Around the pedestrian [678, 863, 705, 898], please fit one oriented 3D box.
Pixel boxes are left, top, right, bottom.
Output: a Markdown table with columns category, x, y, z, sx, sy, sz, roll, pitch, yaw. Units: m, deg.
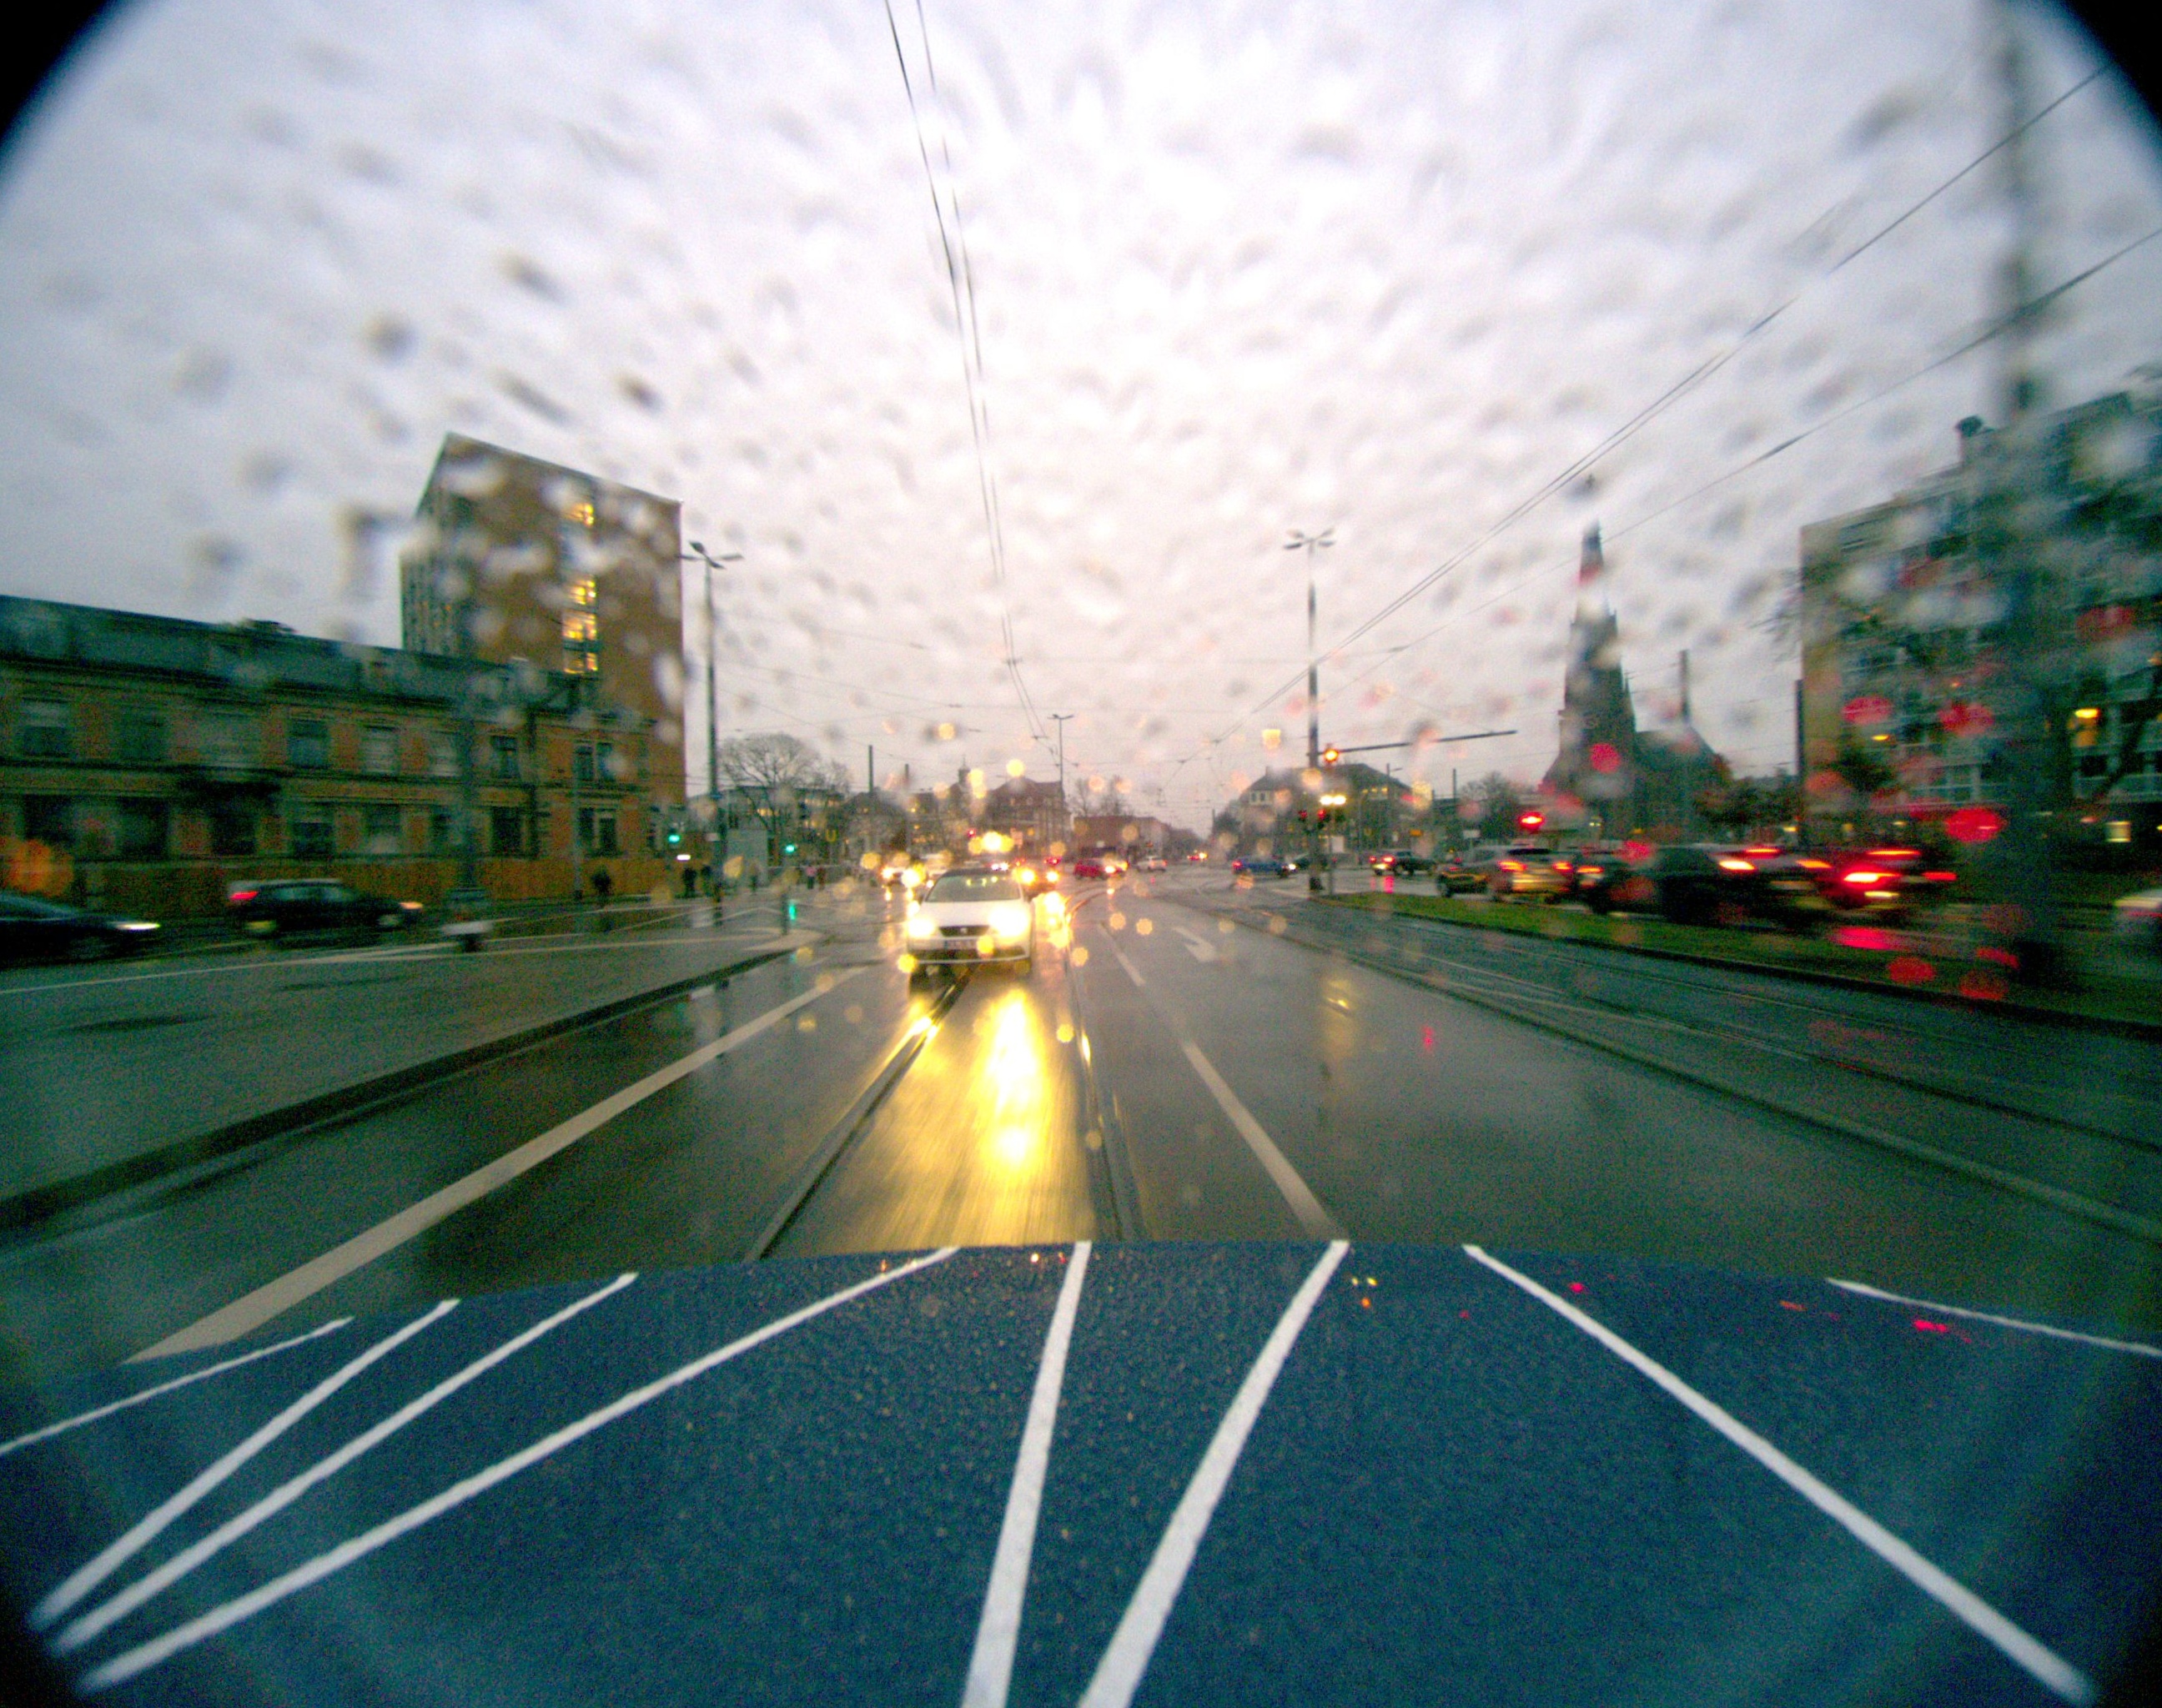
| category | x | y | z | sx | sy | sz | roll | pitch | yaw |
| --- | --- | --- | --- | --- | --- | --- | --- | --- | --- |
| pedestrian | -18.962 | 1.304 | 37.028 | 0.818 | 1.667 | 0.749 | -1 | 1 | 8 |

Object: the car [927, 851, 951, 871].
| category | x | y | z | sx | sy | sz | roll | pitch | yaw |
| --- | --- | --- | --- | --- | --- | --- | --- | --- | --- |
| car | -14.078 | 0.682 | 75.289 | 2.020 | 1.809 | 3.683 | -2 | 1 | -15 |

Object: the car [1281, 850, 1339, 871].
| category | x | y | z | sx | sy | sz | roll | pitch | yaw |
| --- | --- | --- | --- | --- | --- | --- | --- | --- | --- |
| car | 18.485 | 0.520 | 61.472 | 3.997 | 1.543 | 2.000 | -2 | 1 | -1 |

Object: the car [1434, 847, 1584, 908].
| category | x | y | z | sx | sy | sz | roll | pitch | yaw |
| --- | --- | --- | --- | --- | --- | --- | --- | --- | --- |
| car | 11.661 | 0.573 | 21.050 | 1.905 | 1.477 | 4.000 | -2 | 0 | 0 |

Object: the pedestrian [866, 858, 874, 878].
| category | x | y | z | sx | sy | sz | roll | pitch | yaw |
| --- | --- | --- | --- | --- | --- | --- | --- | --- | --- |
| pedestrian | -18.418 | 1.193 | 66.334 | 0.638 | 1.752 | 0.510 | -2 | 1 | -14 |

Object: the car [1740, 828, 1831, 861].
| category | x | y | z | sx | sy | sz | roll | pitch | yaw |
| --- | --- | --- | --- | --- | --- | --- | --- | --- | --- |
| car | 45.237 | -0.584 | 48.848 | 2.004 | 2.002 | 3.989 | -3 | 1 | -38 |

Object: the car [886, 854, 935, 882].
| category | x | y | z | sx | sy | sz | roll | pitch | yaw |
| --- | --- | --- | --- | --- | --- | --- | --- | --- | --- |
| car | -11.925 | 0.945 | 53.470 | 1.998 | 1.827 | 4.872 | -1 | 0 | 4 |

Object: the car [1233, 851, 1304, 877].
| category | x | y | z | sx | sy | sz | roll | pitch | yaw |
| --- | --- | --- | --- | --- | --- | --- | --- | --- | --- |
| car | 11.947 | 0.620 | 48.437 | 4.256 | 1.559 | 1.827 | -1 | 1 | 14 |

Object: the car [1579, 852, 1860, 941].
| category | x | y | z | sx | sy | sz | roll | pitch | yaw |
| --- | --- | --- | --- | --- | --- | --- | --- | --- | --- |
| car | 11.500 | 0.670 | 14.121 | 1.876 | 1.382 | 4.000 | 1 | 0 | 1 |

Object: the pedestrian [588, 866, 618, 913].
| category | x | y | z | sx | sy | sz | roll | pitch | yaw |
| --- | --- | --- | --- | --- | --- | --- | --- | --- | --- |
| pedestrian | -17.034 | 1.244 | 27.071 | 0.821 | 1.610 | 0.747 | -2 | 1 | -34 |

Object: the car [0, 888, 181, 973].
| category | x | y | z | sx | sy | sz | roll | pitch | yaw |
| --- | --- | --- | --- | --- | --- | --- | --- | --- | --- |
| car | -22.757 | 1.650 | 16.193 | 4.396 | 1.579 | 1.885 | -2 | 1 | -44 |

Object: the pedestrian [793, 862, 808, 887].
| category | x | y | z | sx | sy | sz | roll | pitch | yaw |
| --- | --- | --- | --- | --- | --- | --- | --- | --- | --- |
| pedestrian | -18.540 | 1.321 | 50.188 | 0.710 | 1.610 | 0.747 | -2 | 1 | -35 |

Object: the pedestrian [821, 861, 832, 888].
| category | x | y | z | sx | sy | sz | roll | pitch | yaw |
| --- | --- | --- | --- | --- | --- | --- | --- | --- | --- |
| pedestrian | -16.835 | 1.379 | 50.254 | 0.511 | 1.752 | 0.637 | -2 | 1 | -35 |

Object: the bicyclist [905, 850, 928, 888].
| category | x | y | z | sx | sy | sz | roll | pitch | yaw |
| --- | --- | --- | --- | --- | --- | --- | --- | --- | --- |
| bicyclist | -6.792 | 0.603 | 31.449 | 0.727 | 1.525 | 0.785 | -2 | 1 | 1 |

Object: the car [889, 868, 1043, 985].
| category | x | y | z | sx | sy | sz | roll | pitch | yaw |
| --- | --- | --- | --- | --- | --- | --- | --- | --- | --- |
| car | -1.624 | 0.995 | 12.073 | 1.797 | 1.415 | 3.999 | -2 | 0 | 0 |

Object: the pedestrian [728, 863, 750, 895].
| category | x | y | z | sx | sy | sz | roll | pitch | yaw |
| --- | --- | --- | --- | --- | --- | --- | --- | --- | --- |
| pedestrian | -17.744 | 1.274 | 39.435 | 0.881 | 1.610 | 0.747 | -2 | 1 | -35 |

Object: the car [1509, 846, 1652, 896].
| category | x | y | z | sx | sy | sz | roll | pitch | yaw |
| --- | --- | --- | --- | --- | --- | --- | --- | --- | --- |
| car | 14.995 | 0.458 | 23.096 | 1.728 | 1.350 | 4.000 | -2 | 0 | 0 |

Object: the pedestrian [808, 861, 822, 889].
| category | x | y | z | sx | sy | sz | roll | pitch | yaw |
| --- | --- | --- | --- | --- | --- | --- | --- | --- | --- |
| pedestrian | -17.607 | 1.354 | 50.256 | 0.651 | 1.811 | 0.637 | -2 | 1 | -35 |

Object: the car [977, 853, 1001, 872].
| category | x | y | z | sx | sy | sz | roll | pitch | yaw |
| --- | --- | --- | --- | --- | --- | --- | --- | --- | --- |
| car | -10.115 | 0.913 | 83.303 | 1.827 | 1.922 | 3.994 | -2 | 0 | -17 |

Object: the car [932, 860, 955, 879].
| category | x | y | z | sx | sy | sz | roll | pitch | yaw |
| --- | --- | --- | --- | --- | --- | --- | --- | --- | --- |
| car | -11.750 | 1.288 | 64.864 | 1.829 | 1.499 | 3.800 | -2 | 0 | -11 |

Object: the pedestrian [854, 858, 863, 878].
| category | x | y | z | sx | sy | sz | roll | pitch | yaw |
| --- | --- | --- | --- | --- | --- | --- | --- | --- | --- |
| pedestrian | -19.335 | 1.227 | 66.074 | 0.638 | 1.752 | 0.510 | -2 | 1 | -14 |

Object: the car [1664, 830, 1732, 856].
| category | x | y | z | sx | sy | sz | roll | pitch | yaw |
| --- | --- | --- | --- | --- | --- | --- | --- | --- | --- |
| car | 51.174 | -0.908 | 63.134 | 3.990 | 2.002 | 2.003 | -2 | 1 | 24 |

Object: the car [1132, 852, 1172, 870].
| category | x | y | z | sx | sy | sz | roll | pitch | yaw |
| --- | --- | --- | --- | --- | --- | --- | --- | --- | --- |
| car | 6.891 | 0.678 | 74.393 | 2.002 | 1.688 | 4.473 | -2 | 0 | -23 |

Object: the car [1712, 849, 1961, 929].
| category | x | y | z | sx | sy | sz | roll | pitch | yaw |
| --- | --- | --- | --- | --- | --- | --- | --- | --- | --- |
| car | 15.013 | 0.619 | 15.387 | 1.604 | 1.410 | 3.471 | -2 | 0 | 1 |

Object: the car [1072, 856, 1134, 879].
| category | x | y | z | sx | sy | sz | roll | pitch | yaw |
| --- | --- | --- | --- | --- | --- | --- | --- | --- | --- |
| car | 1.519 | 0.936 | 52.889 | 2.004 | 1.521 | 4.084 | -3 | 1 | -42 |

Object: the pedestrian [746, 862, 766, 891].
| category | x | y | z | sx | sy | sz | roll | pitch | yaw |
| --- | --- | --- | --- | --- | --- | --- | --- | --- | --- |
| pedestrian | -18.634 | 1.296 | 43.607 | 0.881 | 1.610 | 0.747 | -2 | 1 | -35 |

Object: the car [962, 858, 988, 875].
| category | x | y | z | sx | sy | sz | roll | pitch | yaw |
| --- | --- | --- | --- | --- | --- | --- | --- | --- | --- |
| car | -10.372 | 1.181 | 73.914 | 1.827 | 1.565 | 3.994 | -2 | 0 | -18 |

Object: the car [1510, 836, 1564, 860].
| category | x | y | z | sx | sy | sz | roll | pitch | yaw |
| --- | --- | --- | --- | --- | --- | --- | --- | --- | --- |
| car | 35.141 | -0.479 | 58.549 | 4.575 | 1.783 | 1.821 | -2 | 1 | -35 |

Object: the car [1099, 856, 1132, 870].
| category | x | y | z | sx | sy | sz | roll | pitch | yaw |
| --- | --- | --- | --- | --- | --- | --- | --- | --- | --- |
| car | 3.706 | 0.987 | 82.870 | 2.002 | 1.434 | 4.475 | -2 | 0 | -19 |

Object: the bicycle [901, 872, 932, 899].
| category | x | y | z | sx | sy | sz | roll | pitch | yaw |
| --- | --- | --- | --- | --- | --- | --- | --- | --- | --- |
| bicycle | -6.772 | 1.297 | 31.393 | 0.725 | 0.985 | 2.212 | -2 | 0 | 1 |

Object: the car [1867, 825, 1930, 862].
| category | x | y | z | sx | sy | sz | roll | pitch | yaw |
| --- | --- | --- | --- | --- | --- | --- | --- | --- | --- |
| car | 47.720 | -0.621 | 44.427 | 1.994 | 2.002 | 4.008 | -1 | 1 | 40 |

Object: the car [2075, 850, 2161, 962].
| category | x | y | z | sx | sy | sz | roll | pitch | yaw |
| --- | --- | --- | --- | --- | --- | --- | --- | --- | --- |
| car | 14.965 | 0.672 | 8.398 | 1.998 | 1.413 | 4.587 | -2 | 0 | 1 |

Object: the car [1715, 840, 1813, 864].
| category | x | y | z | sx | sy | sz | roll | pitch | yaw |
| --- | --- | --- | --- | --- | --- | --- | --- | --- | --- |
| car | 39.996 | -0.107 | 44.544 | 2.004 | 1.302 | 3.989 | -3 | 1 | -38 |

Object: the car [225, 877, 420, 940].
| category | x | y | z | sx | sy | sz | roll | pitch | yaw |
| --- | --- | --- | --- | --- | --- | --- | --- | --- | --- |
| car | -21.327 | 1.485 | 21.605 | 3.756 | 1.394 | 1.614 | -3 | 2 | -41 |

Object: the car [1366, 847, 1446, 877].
| category | x | y | z | sx | sy | sz | roll | pitch | yaw |
| --- | --- | --- | --- | --- | --- | --- | --- | --- | --- |
| car | 21.103 | 0.482 | 49.372 | 4.570 | 1.783 | 1.823 | -2 | 1 | -16 |

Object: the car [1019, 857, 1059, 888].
| category | x | y | z | sx | sy | sz | roll | pitch | yaw |
| --- | --- | --- | --- | --- | --- | --- | --- | --- | --- |
| car | -2.078 | 0.921 | 38.882 | 1.797 | 1.415 | 3.999 | -2 | 0 | 0 |
